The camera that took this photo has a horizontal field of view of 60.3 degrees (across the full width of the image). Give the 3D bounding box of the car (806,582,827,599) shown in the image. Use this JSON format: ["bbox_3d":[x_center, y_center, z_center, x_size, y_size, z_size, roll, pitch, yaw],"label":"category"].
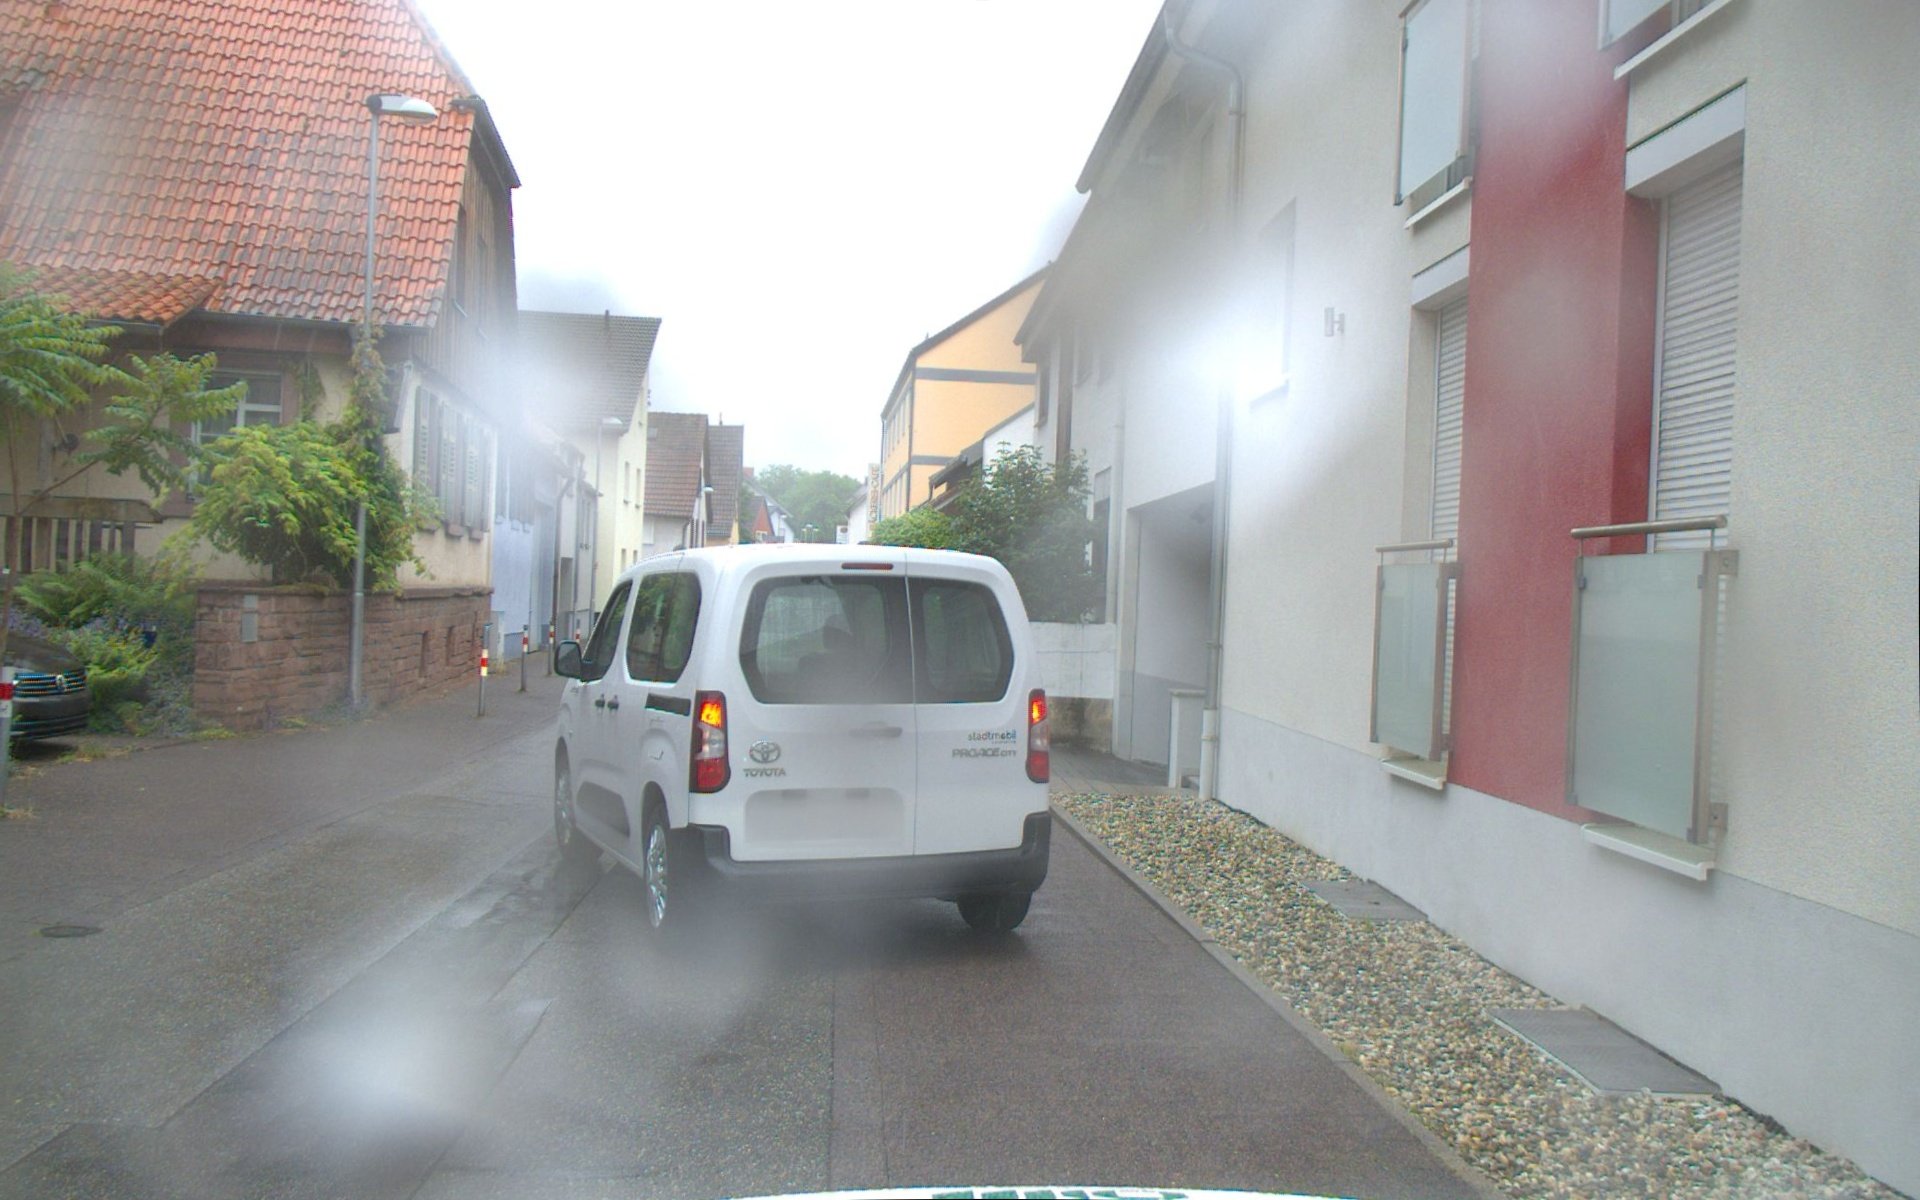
[{"bbox_3d":[-13.518,-0.851,156.060,1.556,1.466,3.766,3,0,0],"label":"car"}]

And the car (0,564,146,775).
[{"bbox_3d":[-8.798,0.325,12.883,3.907,1.449,1.736,7,-1,1],"label":"car"}]

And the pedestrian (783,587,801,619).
[{"bbox_3d":[-10.214,0.199,100.730,1.030,1.926,0.876,1,-1,-7],"label":"pedestrian"}]

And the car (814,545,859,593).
[{"bbox_3d":[-5.641,-1.392,75.952,1.954,2.049,3.997,1,0,-4],"label":"car"}]

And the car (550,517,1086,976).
[{"bbox_3d":[-0.994,0.589,8.722,1.750,1.811,3.974,1,0,-21],"label":"car"}]

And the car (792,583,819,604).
[{"bbox_3d":[-12.941,-0.562,138.491,1.953,1.586,3.432,-1,2,0],"label":"car"}]
